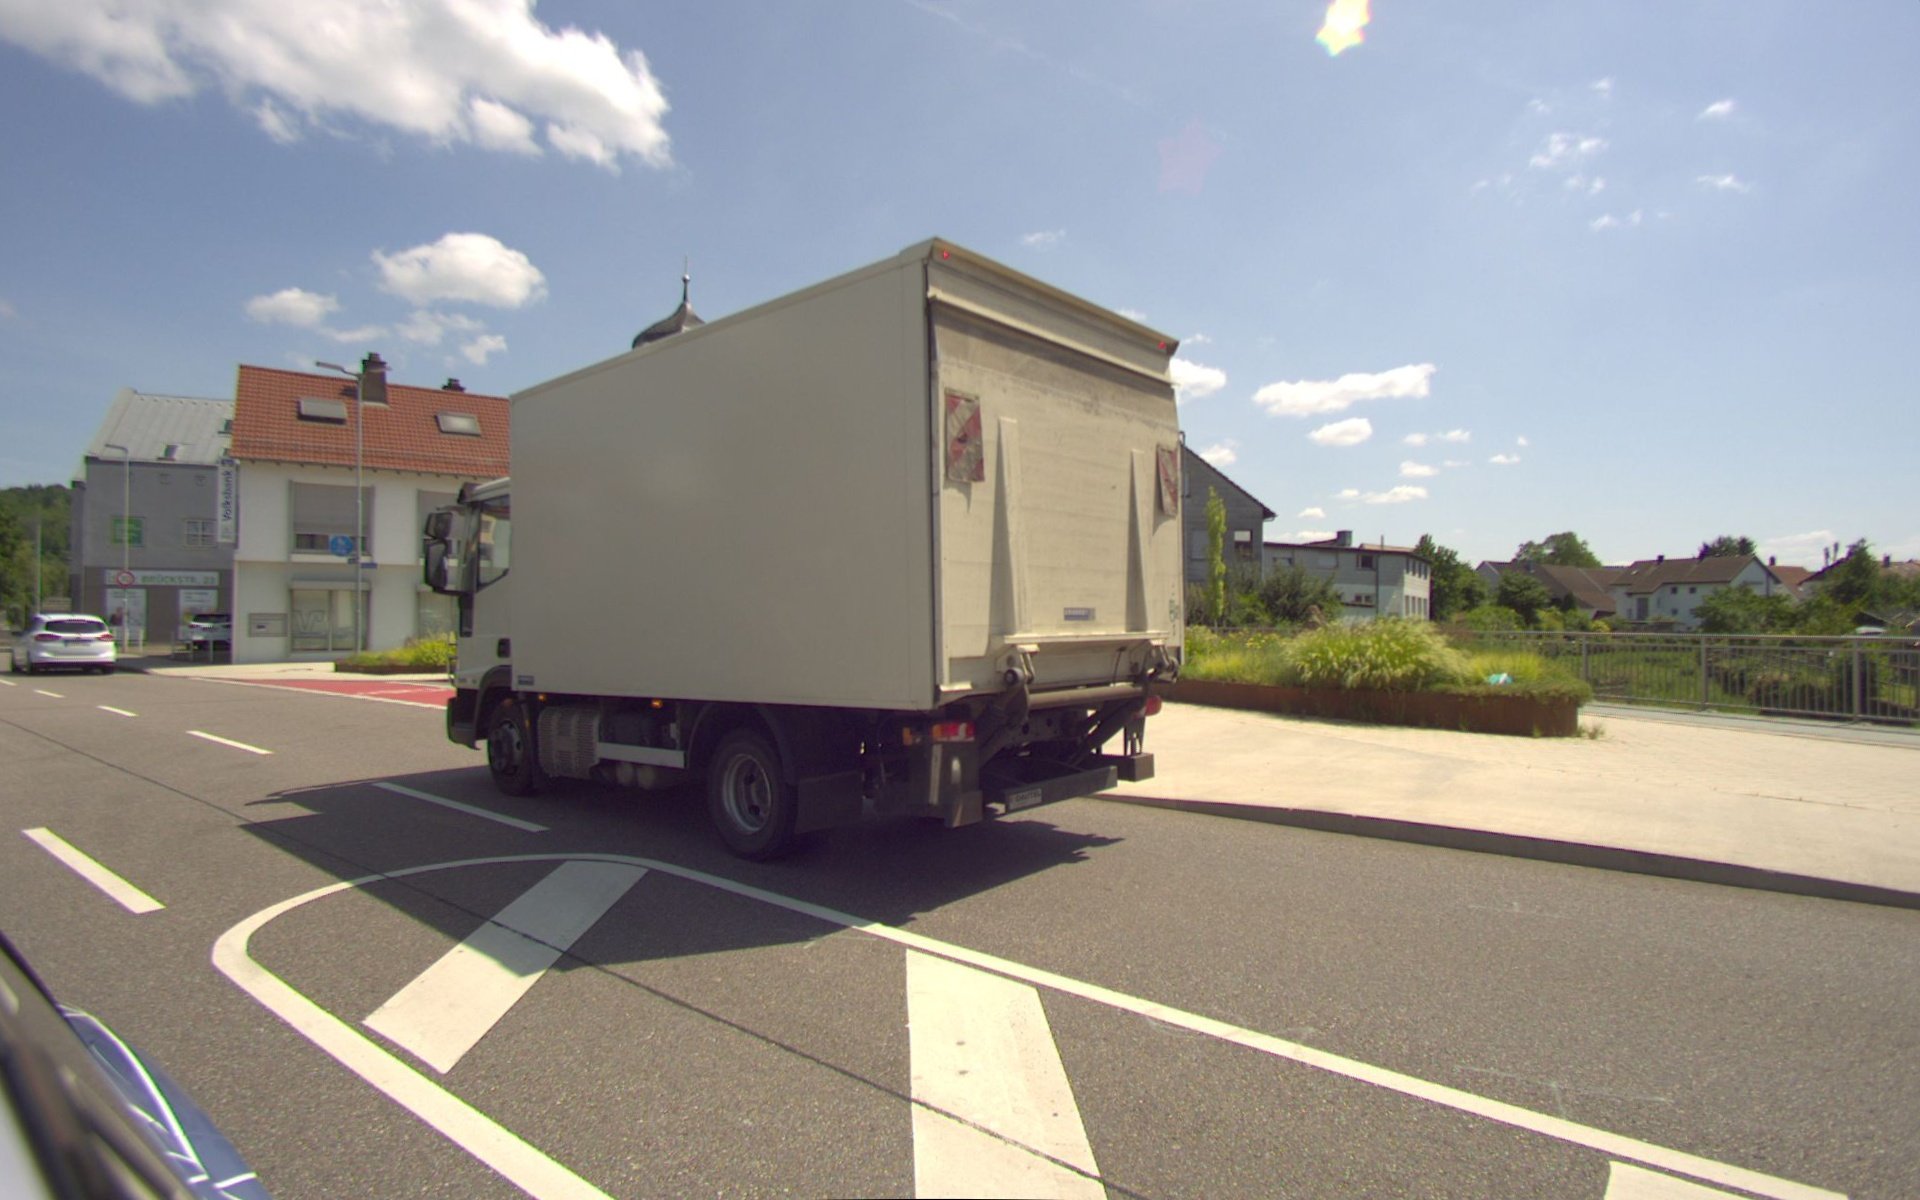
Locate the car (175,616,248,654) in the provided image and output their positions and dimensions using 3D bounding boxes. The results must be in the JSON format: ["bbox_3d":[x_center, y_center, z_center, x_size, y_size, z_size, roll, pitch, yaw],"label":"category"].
[{"bbox_3d":[-33.198,1.553,45.004,1.965,1.587,4.266,2,-3,-28],"label":"car"}]

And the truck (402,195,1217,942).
[{"bbox_3d":[-1.486,-0.161,7.334,6.036,3.259,2.476,0,1,40],"label":"truck"}]

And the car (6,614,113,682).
[{"bbox_3d":[-24.379,1.223,27.356,4.000,1.662,1.795,0,0,43],"label":"car"}]
